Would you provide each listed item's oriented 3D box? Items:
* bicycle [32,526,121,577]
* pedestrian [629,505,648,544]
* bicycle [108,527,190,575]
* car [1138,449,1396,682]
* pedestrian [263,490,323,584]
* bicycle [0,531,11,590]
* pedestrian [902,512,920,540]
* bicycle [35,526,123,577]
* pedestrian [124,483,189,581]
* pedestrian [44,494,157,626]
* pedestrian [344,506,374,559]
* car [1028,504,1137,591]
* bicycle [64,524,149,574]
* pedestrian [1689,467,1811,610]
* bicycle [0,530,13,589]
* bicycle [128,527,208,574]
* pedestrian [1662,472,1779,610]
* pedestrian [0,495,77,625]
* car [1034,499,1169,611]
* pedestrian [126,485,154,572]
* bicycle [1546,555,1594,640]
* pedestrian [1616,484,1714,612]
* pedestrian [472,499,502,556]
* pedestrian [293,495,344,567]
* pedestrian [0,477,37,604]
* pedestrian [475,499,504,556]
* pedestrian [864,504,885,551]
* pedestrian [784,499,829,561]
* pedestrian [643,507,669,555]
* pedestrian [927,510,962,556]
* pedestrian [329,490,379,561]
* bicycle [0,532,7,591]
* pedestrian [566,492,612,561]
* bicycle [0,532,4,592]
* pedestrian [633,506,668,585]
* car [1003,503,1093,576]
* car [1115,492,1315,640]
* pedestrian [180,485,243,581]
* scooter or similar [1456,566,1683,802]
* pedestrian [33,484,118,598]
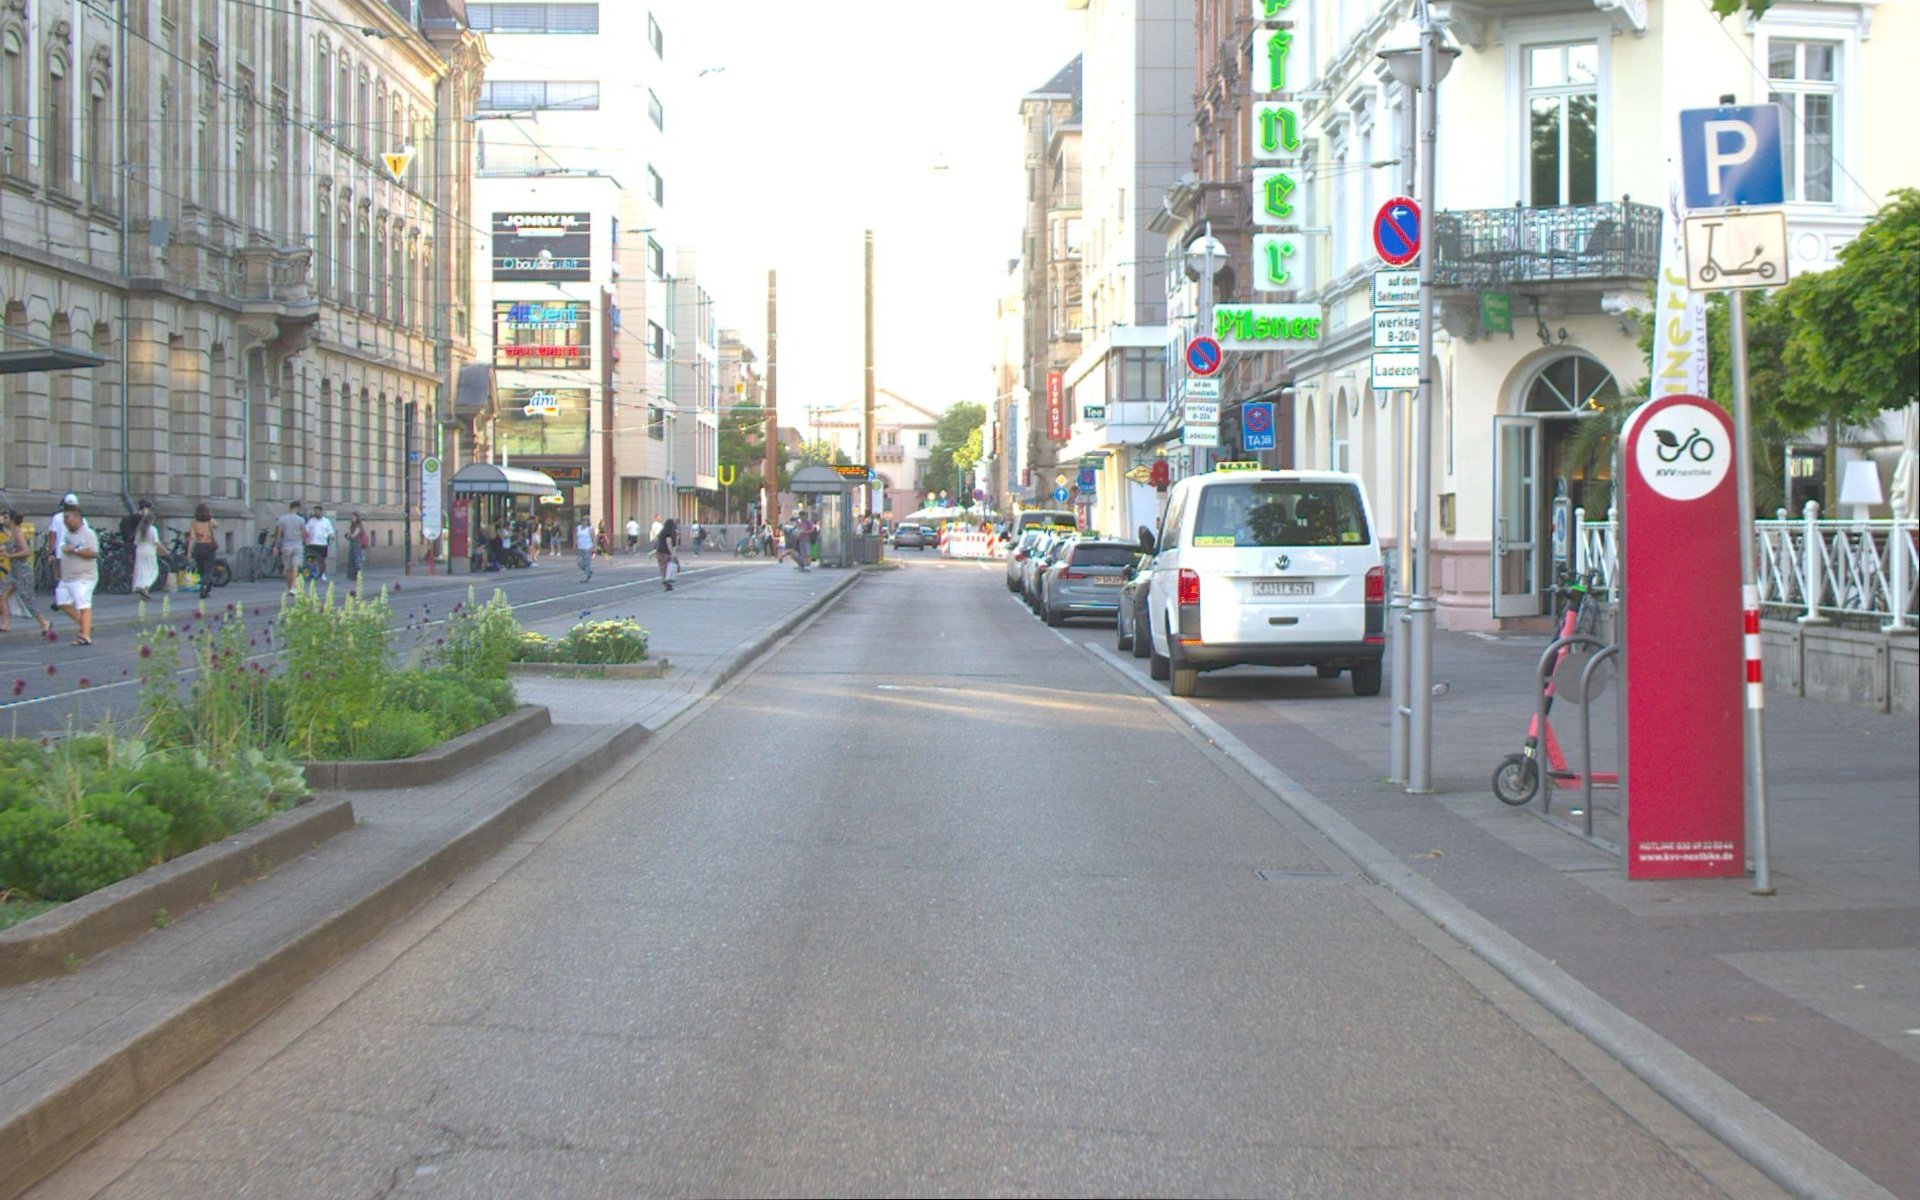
[{"bbox_3d":[-16.424,-0.902,63.928,1.582,0.946,0.359,0,0,-12],"label":"bicycle"},{"bbox_3d":[-15.827,-3.734,169.223,0.848,1.922,0.908,0,1,0],"label":"pedestrian"},{"bbox_3d":[-16.248,-0.978,68.878,1.582,0.946,0.359,0,0,-12],"label":"bicycle"},{"bbox_3d":[2.722,-0.333,31.399,1.915,1.975,4.421,0,1,-1],"label":"car"},{"bbox_3d":[-12.055,-1.131,62.178,1.048,1.680,0.908,0,0,-10],"label":"pedestrian"},{"bbox_3d":[-16.095,-0.631,55.309,1.582,0.946,0.359,0,0,-12],"label":"bicycle"},{"bbox_3d":[-3.048,-4.608,214.589,0.782,1.728,0.811,0,0,40],"label":"pedestrian"},{"bbox_3d":[-16.486,-0.913,64.362,1.582,0.946,0.359,0,0,-12],"label":"bicycle"},{"bbox_3d":[-14.003,-1.179,59.920,1.048,1.680,0.908,0,0,-10],"label":"pedestrian"},{"bbox_3d":[-9.996,-0.463,39.995,0.718,1.508,1.035,2,1,43],"label":"pedestrian"},{"bbox_3d":[-16.303,-1.825,93.220,0.629,1.424,0.710,1,1,6],"label":"pedestrian"},{"bbox_3d":[2.425,-1.031,69.037,1.993,1.661,4.421,0,0,-1],"label":"car"},{"bbox_3d":[-16.390,-0.970,66.025,1.582,0.946,0.359,0,0,-12],"label":"bicycle"},{"bbox_3d":[7.340,-0.560,31.977,0.902,1.309,0.967,0,0,-1],"label":"pedestrian"},{"bbox_3d":[-16.182,-0.653,55.752,1.582,0.946,0.359,0,0,-12],"label":"bicycle"},{"bbox_3d":[-16.199,-1.017,70.340,1.582,0.946,0.359,0,0,-12],"label":"bicycle"},{"bbox_3d":[7.309,-0.560,33.078,0.902,1.301,0.967,0,0,-1],"label":"pedestrian"},{"bbox_3d":[-11.012,-0.476,40.528,0.759,1.508,0.861,3,2,43],"label":"pedestrian"},{"bbox_3d":[2.268,-0.739,56.200,1.993,1.755,4.421,0,1,-1],"label":"car"},{"bbox_3d":[-15.932,-1.392,66.782,0.516,1.667,0.482,0,1,-16],"label":"pedestrian"},{"bbox_3d":[6.551,-0.023,36.953,0.250,0.899,1.374,0,0,-1],"label":"bicycle"},{"bbox_3d":[7.287,-0.528,35.564,0.822,1.301,0.870,0,0,-1],"label":"pedestrian"},{"bbox_3d":[-13.187,-2.031,95.893,0.777,1.575,0.679,0,1,-12],"label":"pedestrian"},{"bbox_3d":[-15.021,-1.618,80.522,1.048,1.680,0.908,0,1,-19],"label":"pedestrian"},{"bbox_3d":[-13.192,-0.800,46.937,0.872,1.704,1.131,0,0,1],"label":"pedestrian"},{"bbox_3d":[-13.022,-2.002,95.131,0.773,1.575,0.679,0,1,-12],"label":"pedestrian"},{"bbox_3d":[-2.765,-2.357,111.577,0.612,1.518,0.621,0,0,-9],"label":"pedestrian"},{"bbox_3d":[-4.237,-1.932,94.930,1.049,1.680,0.908,0,0,11],"label":"pedestrian"},{"bbox_3d":[-12.276,-2.779,138.694,0.905,1.922,0.851,0,1,-16],"label":"pedestrian"},{"bbox_3d":[-0.662,-2.846,146.180,1.229,1.922,1.022,0,1,-16],"label":"pedestrian"},{"bbox_3d":[-14.534,-1.788,82.479,1.048,1.680,0.908,0,1,-19],"label":"pedestrian"},{"bbox_3d":[-16.036,-0.615,54.858,1.582,0.946,0.359,0,0,-12],"label":"bicycle"},{"bbox_3d":[-9.153,-1.810,84.824,1.049,1.680,0.908,1,1,-1],"label":"pedestrian"},{"bbox_3d":[-15.953,-0.608,54.402,1.582,0.946,0.359,0,0,-12],"label":"bicycle"},{"bbox_3d":[-6.532,-1.159,72.566,0.689,1.630,0.581,0,3,-8],"label":"pedestrian"},{"bbox_3d":[2.069,-1.421,82.187,1.993,1.661,4.421,0,0,-1],"label":"car"},{"bbox_3d":[2.954,-0.411,40.695,1.993,1.661,4.421,0,1,-1],"label":"car"},{"bbox_3d":[-13.303,-1.185,61.138,1.048,1.680,0.908,0,0,-10],"label":"pedestrian"},{"bbox_3d":[3.206,0.437,18.113,1.125,1.212,0.300,-1,1,1],"label":"scooter or similar"},{"bbox_3d":[-12.866,-0.851,50.021,0.880,1.648,0.875,0,0,13],"label":"pedestrian"}]
